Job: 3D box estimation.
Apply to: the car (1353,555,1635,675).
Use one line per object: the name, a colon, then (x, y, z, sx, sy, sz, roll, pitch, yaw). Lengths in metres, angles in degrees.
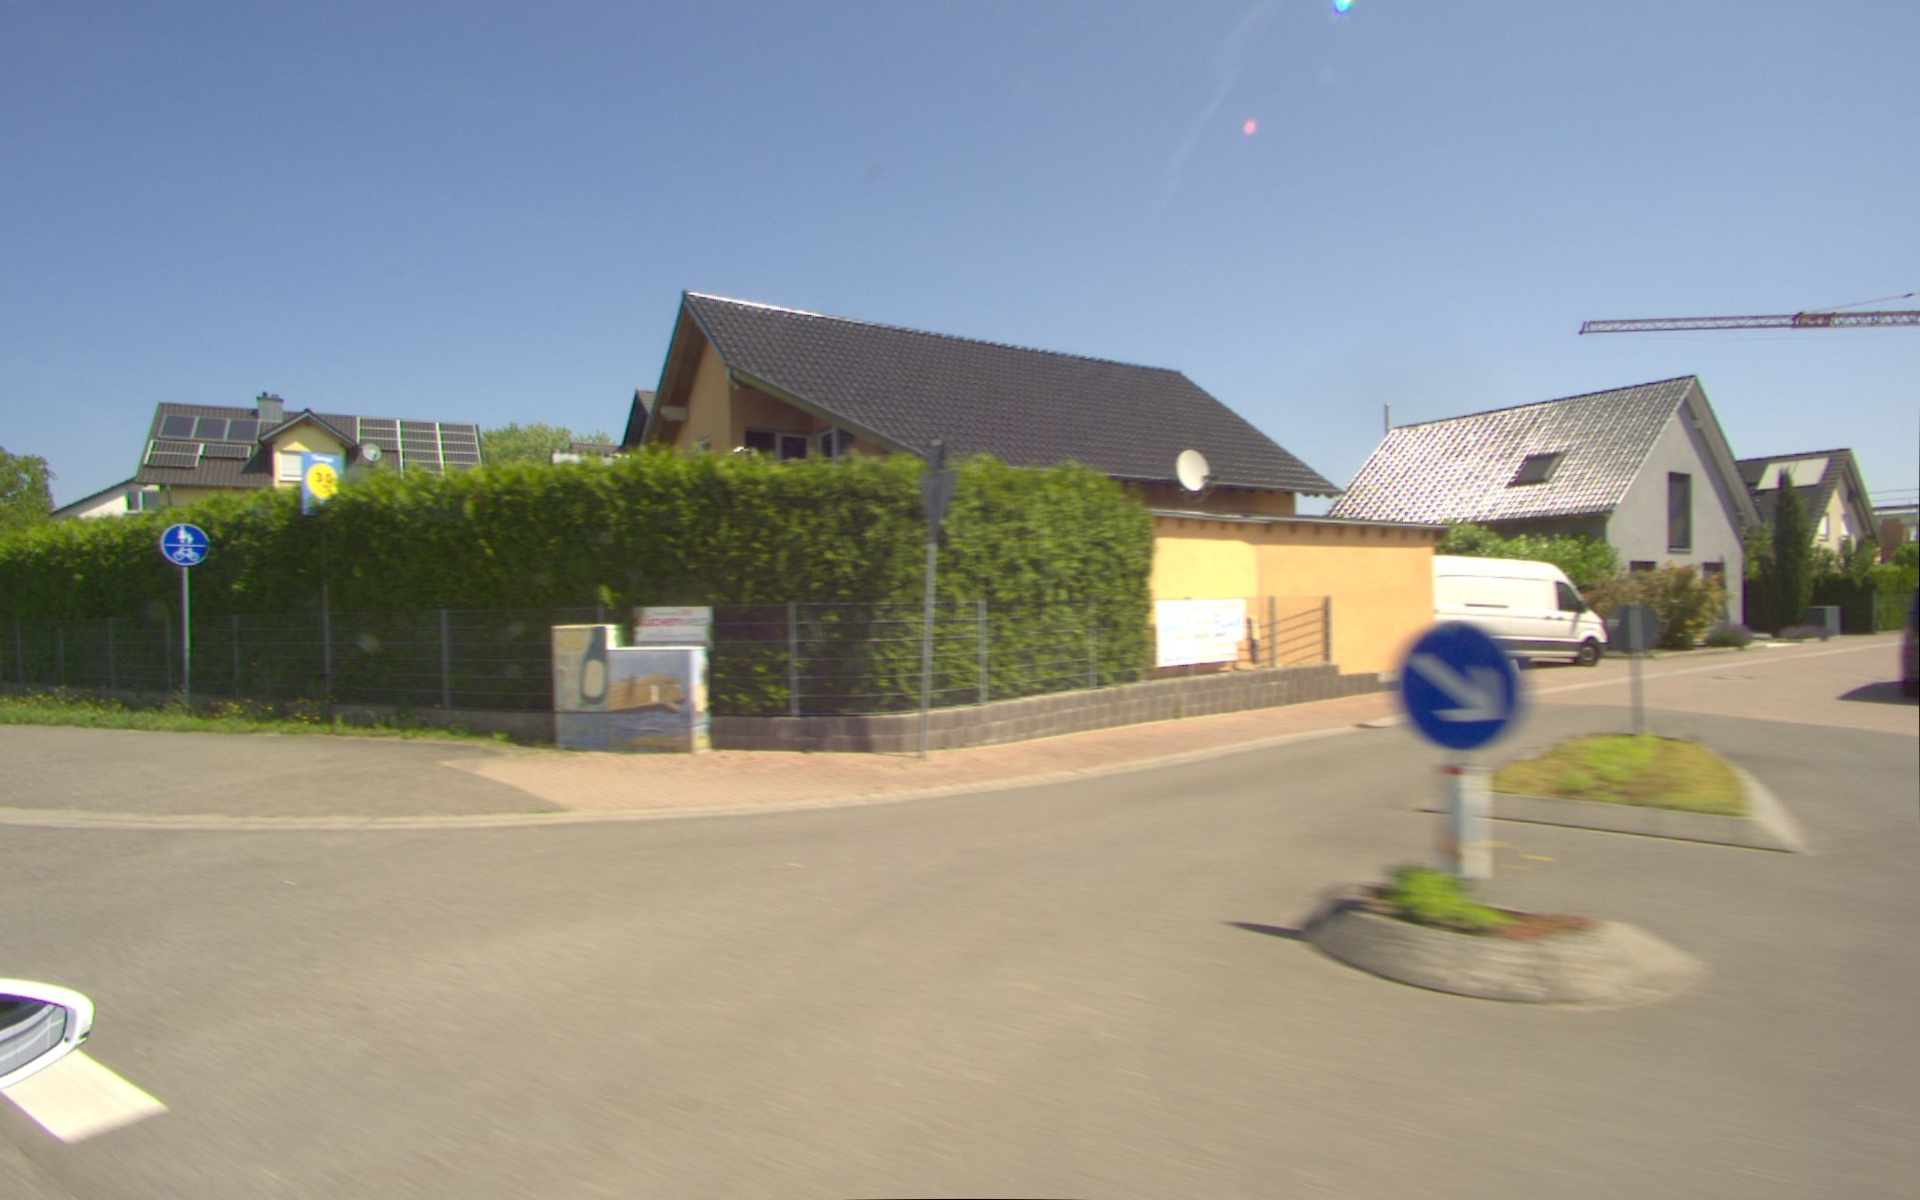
car: (13.162, 0.290, 24.622, 6.762, 2.664, 2.451, 0, 2, -24)

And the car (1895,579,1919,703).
car: (18.024, 0.603, 17.412, 4.440, 2.040, 1.985, -2, -1, -39)
